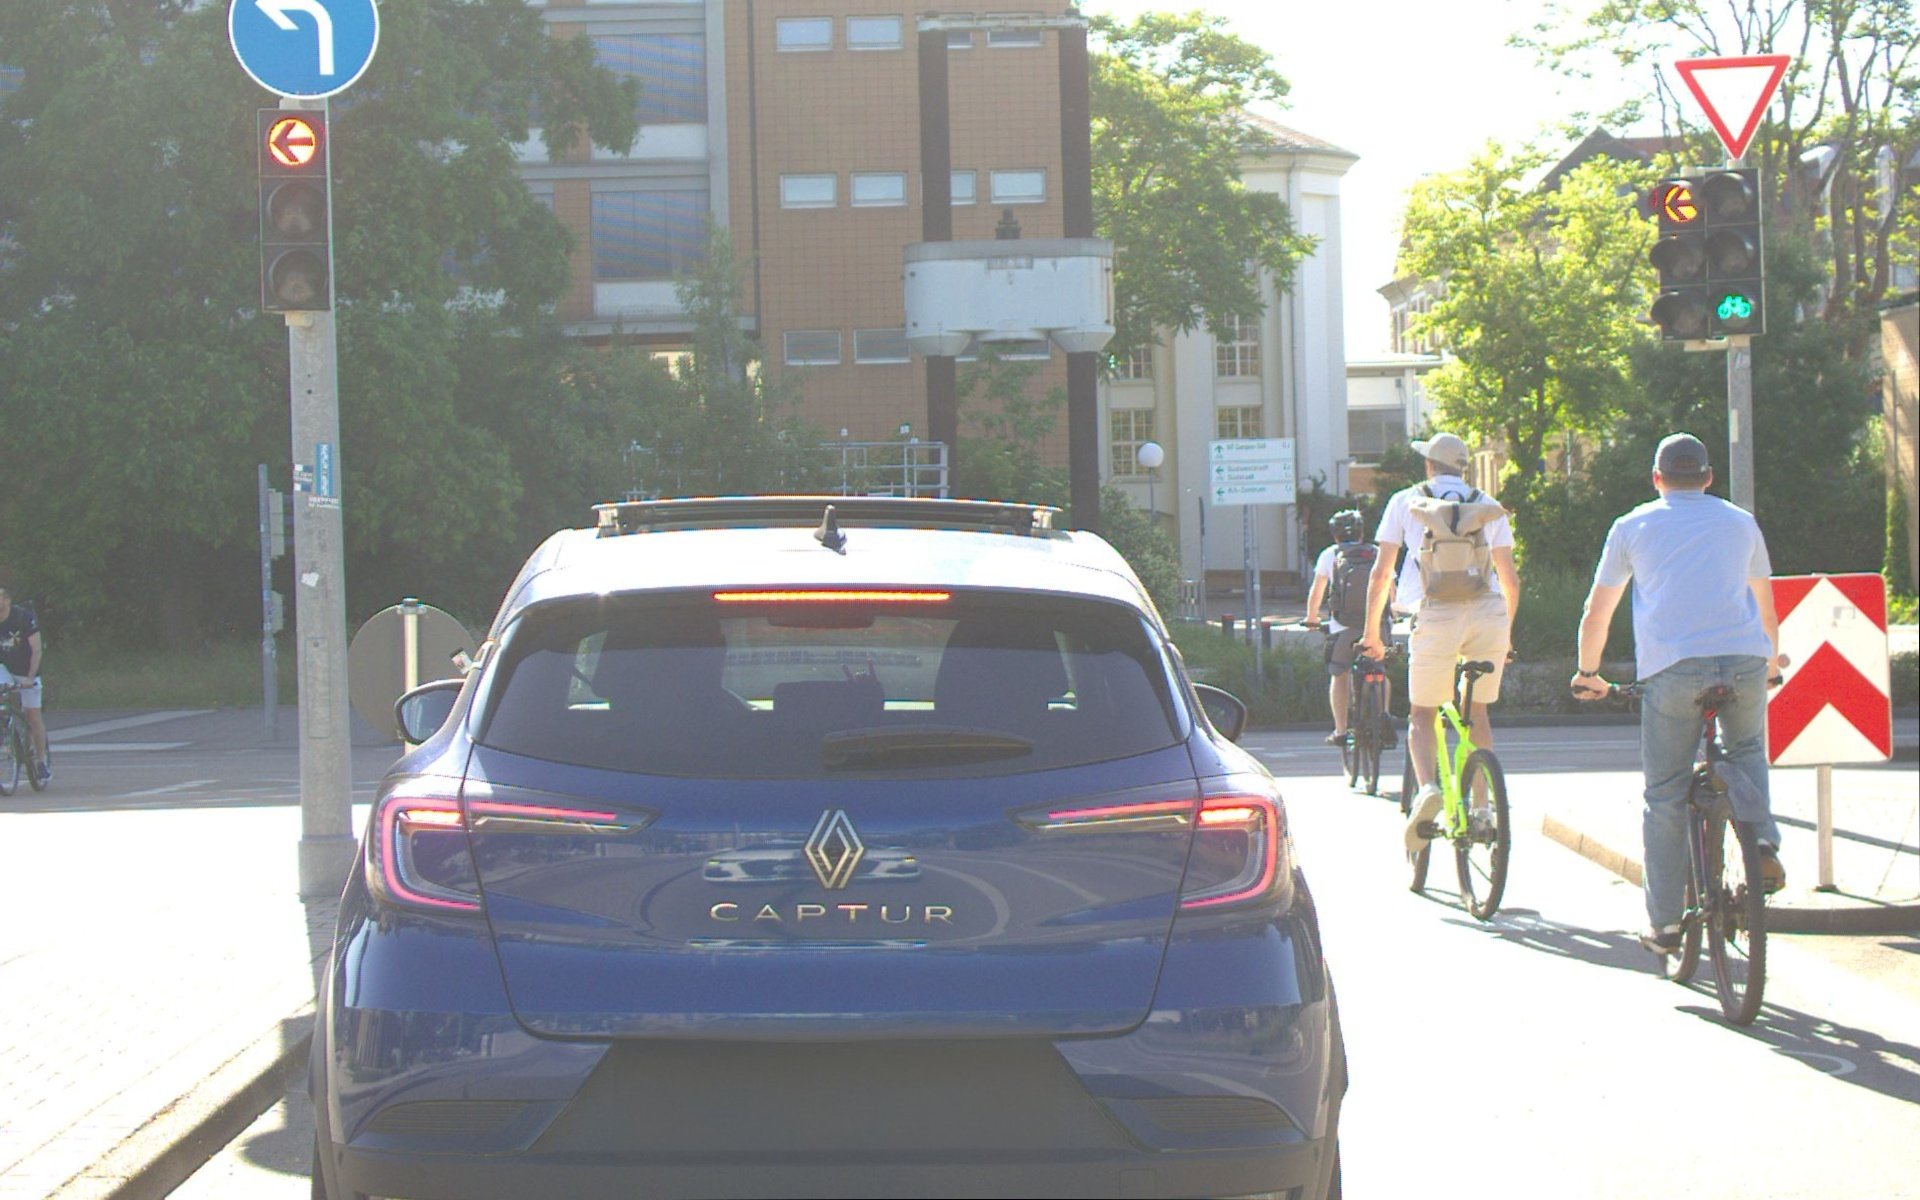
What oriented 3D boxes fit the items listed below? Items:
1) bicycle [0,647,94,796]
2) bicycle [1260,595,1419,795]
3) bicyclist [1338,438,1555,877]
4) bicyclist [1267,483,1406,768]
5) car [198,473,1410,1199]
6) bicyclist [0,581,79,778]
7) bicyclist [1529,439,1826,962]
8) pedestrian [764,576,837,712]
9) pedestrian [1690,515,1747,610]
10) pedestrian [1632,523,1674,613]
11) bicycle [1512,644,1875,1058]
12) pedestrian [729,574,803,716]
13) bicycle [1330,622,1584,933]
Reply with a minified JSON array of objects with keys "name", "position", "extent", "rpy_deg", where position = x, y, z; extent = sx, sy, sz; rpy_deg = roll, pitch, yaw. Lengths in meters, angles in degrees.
[{"name":"bicycle","position":[-7.953,1.019,29.089],"extent":[0.746,1.161,1.870],"rpy_deg":[-3,1,-1]},{"name":"bicycle","position":[2.359,0.569,21.577],"extent":[0.746,1.161,1.870],"rpy_deg":[-1,1,-1]},{"name":"bicyclist","position":[2.015,0.227,14.352],"extent":[0.719,1.756,0.978],"rpy_deg":[-1,1,-1]},{"name":"bicyclist","position":[2.346,0.151,21.524],"extent":[0.719,1.729,0.978],"rpy_deg":[-1,1,-1]},{"name":"car","position":[-0.269,0.600,7.278],"extent":[1.876,1.612,3.798],"rpy_deg":[1,1,-1]},{"name":"bicyclist","position":[-7.963,0.661,29.066],"extent":[0.719,1.615,0.978],"rpy_deg":[-2,1,-1]},{"name":"bicyclist","position":[2.313,0.307,11.175],"extent":[0.719,1.611,0.978],"rpy_deg":[-1,1,-1]},{"name":"pedestrian","position":[-2.101,0.573,45.355],"extent":[0.734,1.776,0.731],"rpy_deg":[1,0,17]},{"name":"pedestrian","position":[13.162,-0.656,59.621],"extent":[0.677,1.637,0.734],"rpy_deg":[1,1,40]},{"name":"pedestrian","position":[12.745,-0.580,63.209],"extent":[0.676,1.637,0.735],"rpy_deg":[1,0,15]},{"name":"bicycle","position":[2.320,0.755,11.101],"extent":[0.716,1.161,1.870],"rpy_deg":[-1,1,-1]},{"name":"pedestrian","position":[-2.516,0.571,44.572],"extent":[0.734,1.810,0.731],"rpy_deg":[1,0,17]},{"name":"bicycle","position":[2.037,0.697,14.324],"extent":[0.746,1.161,1.870],"rpy_deg":[-1,1,-1]}]
